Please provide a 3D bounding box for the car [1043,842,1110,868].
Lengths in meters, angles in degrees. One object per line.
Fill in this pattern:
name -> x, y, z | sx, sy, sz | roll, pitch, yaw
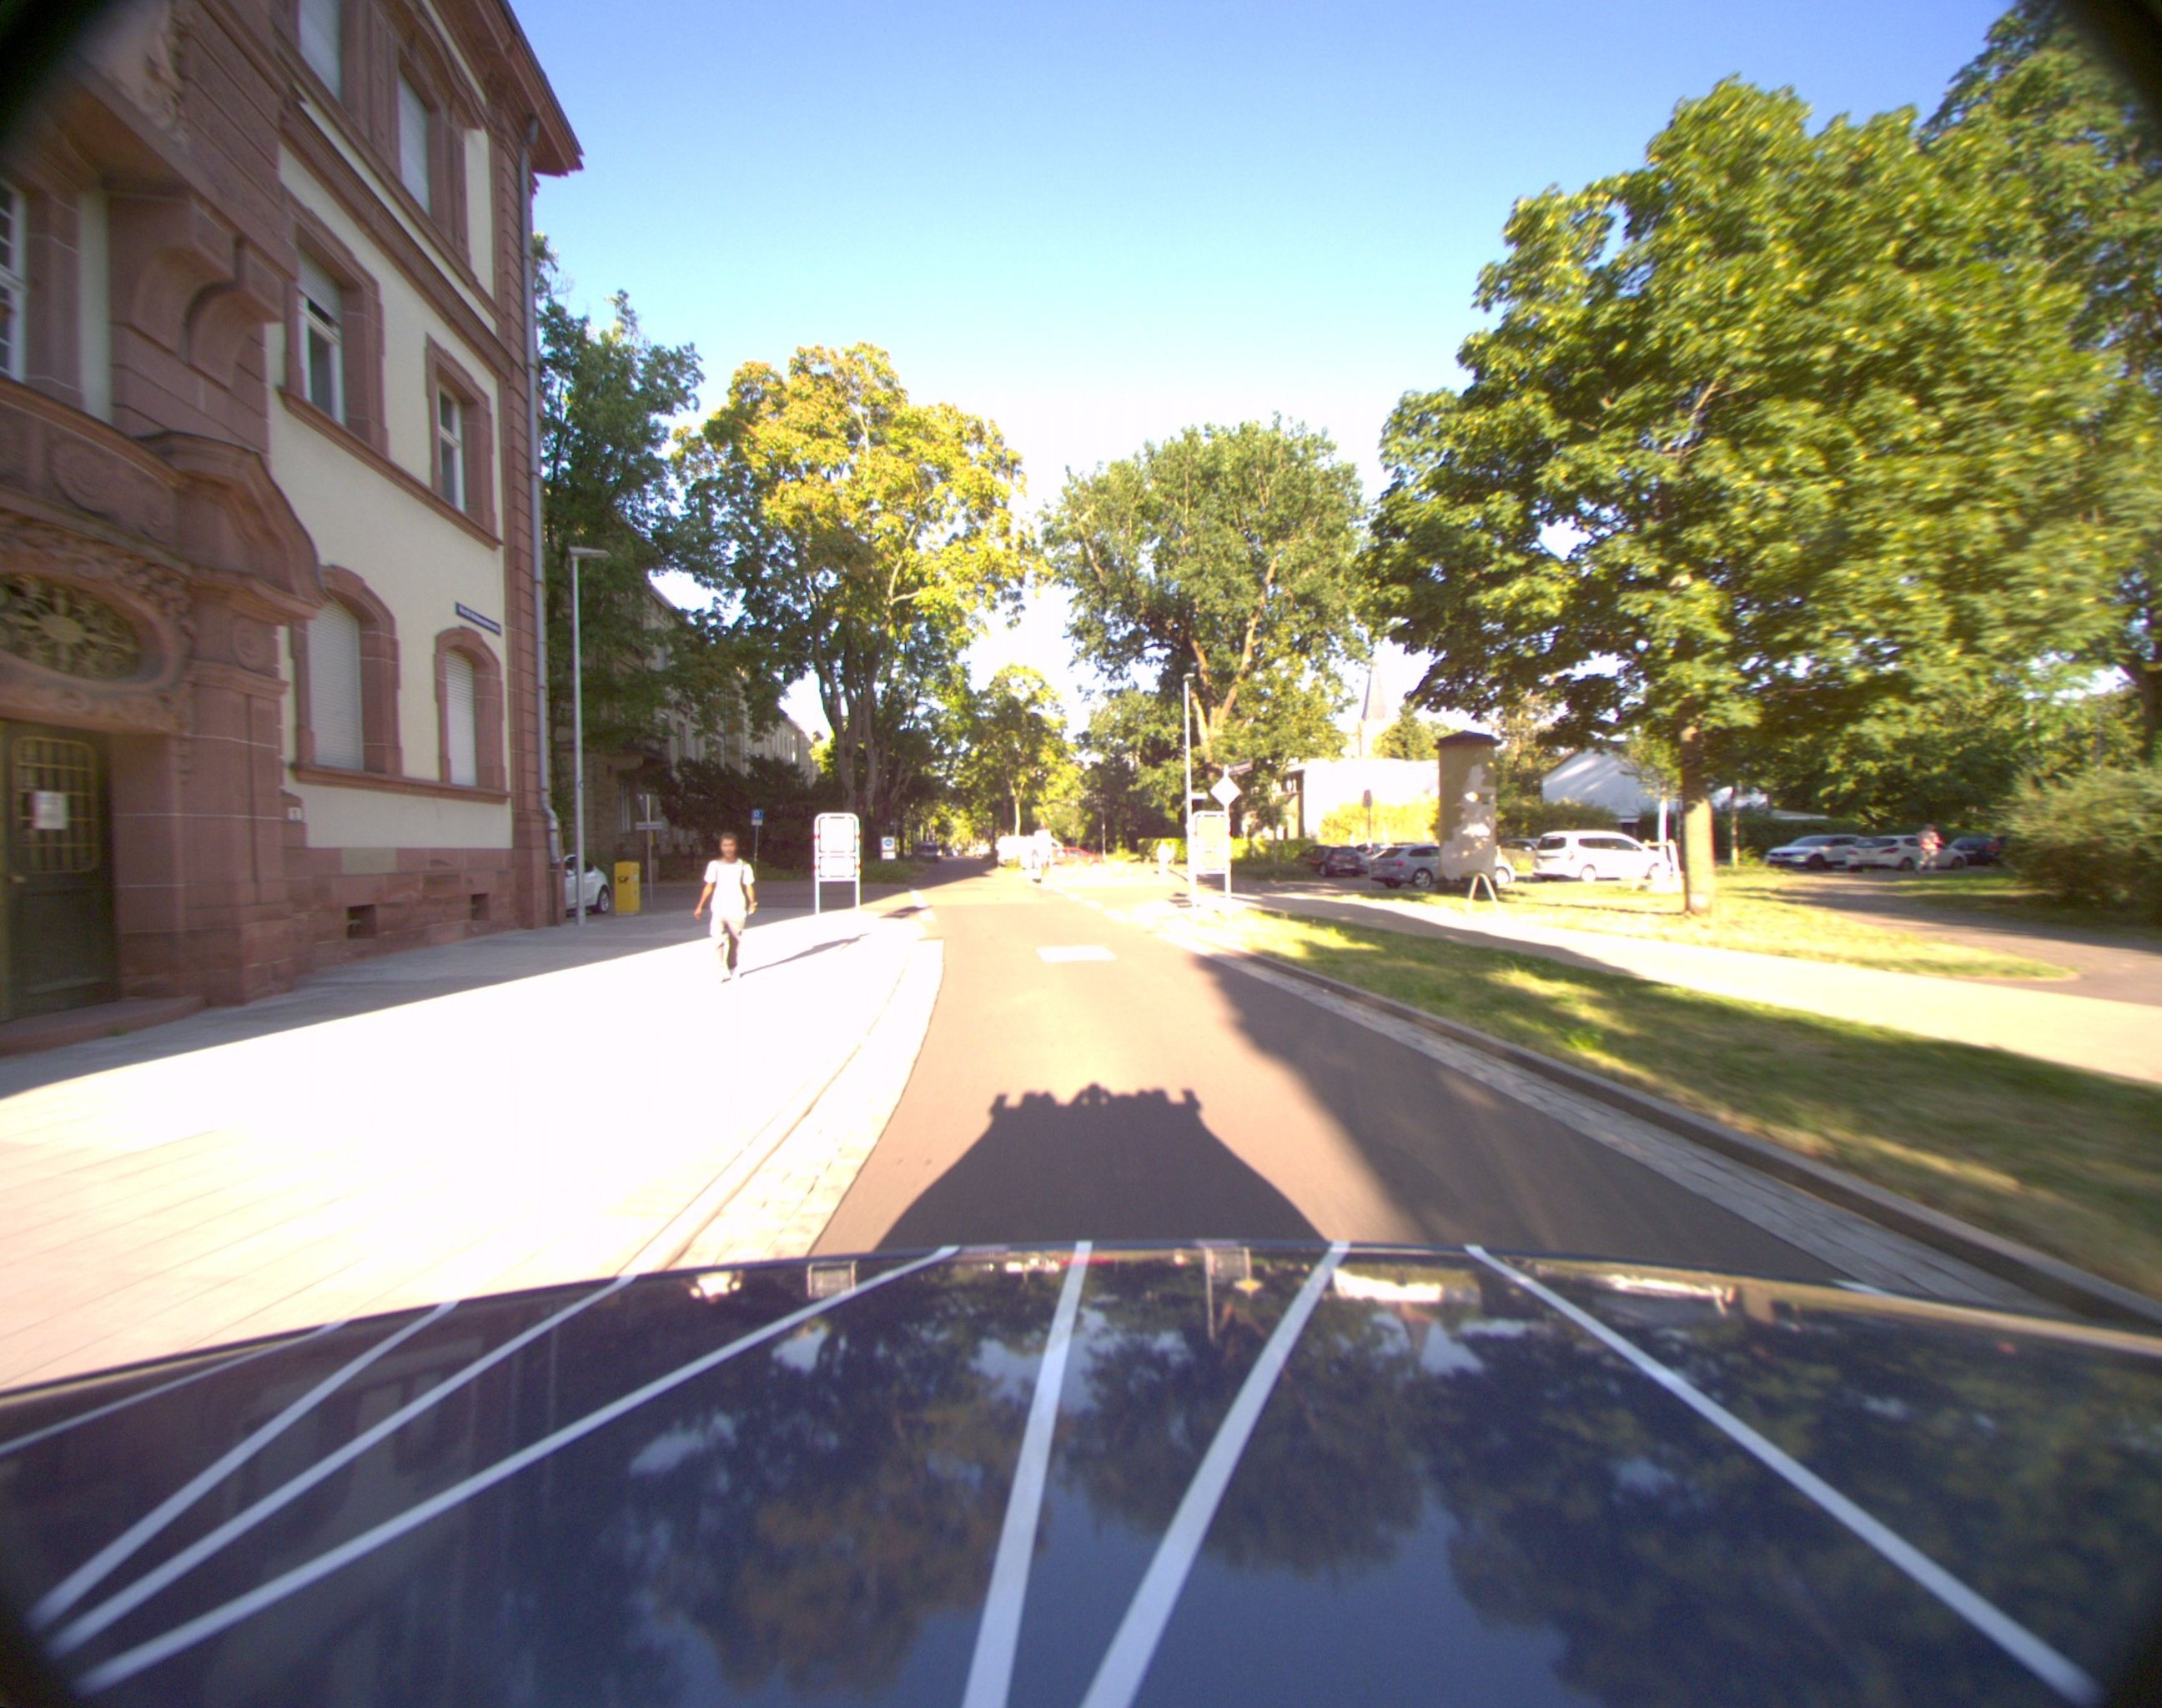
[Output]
car -> -0.296, 0.029, 45.420 | 3.681, 1.412, 1.716 | -2, 1, -12

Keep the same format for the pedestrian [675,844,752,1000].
pedestrian -> -4.239, 0.739, 8.818 | 0.534, 1.709, 1.002 | 1, 1, -10

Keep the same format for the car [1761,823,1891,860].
car -> 33.334, -0.533, 34.042 | 4.345, 1.526, 1.782 | -2, 0, -6

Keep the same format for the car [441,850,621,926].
car -> -13.374, 0.805, 18.883 | 1.968, 1.579, 4.717 | -2, -1, -14

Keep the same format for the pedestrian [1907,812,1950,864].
pedestrian -> 28.939, -0.540, 25.951 | 0.747, 1.728, 0.715 | -2, 2, -11

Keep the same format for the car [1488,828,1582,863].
car -> 22.155, -0.461, 37.246 | 1.746, 1.529, 3.918 | -2, 3, -13

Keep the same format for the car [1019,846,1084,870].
car -> -1.988, 0.262, 50.911 | 4.060, 1.412, 1.716 | -2, 1, -12

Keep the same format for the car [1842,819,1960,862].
car -> 32.030, -0.530, 29.705 | 3.310, 1.500, 1.715 | -2, 1, -13

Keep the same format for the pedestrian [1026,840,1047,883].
pedestrian -> -2.034, 0.338, 34.673 | 0.615, 1.907, 0.721 | -1, 0, -34

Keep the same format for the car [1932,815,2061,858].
car -> 37.082, -0.690, 30.802 | 3.679, 1.500, 1.716 | -3, 1, -10

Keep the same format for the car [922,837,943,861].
car -> -16.989, -0.609, 87.159 | 1.952, 2.584, 4.162 | -2, 1, -7

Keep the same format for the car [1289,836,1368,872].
car -> 11.300, -0.060, 34.971 | 1.646, 1.507, 3.995 | -2, 2, -12

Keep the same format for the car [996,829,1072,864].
car -> -3.871, -0.608, 62.775 | 5.912, 2.685, 2.218 | -2, 1, -13

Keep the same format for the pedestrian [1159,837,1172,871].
pedestrian -> 4.032, 0.004, 36.123 | 0.435, 1.572, 0.666 | -2, 2, -6

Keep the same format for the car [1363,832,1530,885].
car -> 12.137, 0.117, 25.336 | 4.839, 1.550, 1.866 | -2, 1, -11

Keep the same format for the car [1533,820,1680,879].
car -> 18.458, -0.170, 26.763 | 4.239, 1.905, 1.760 | -2, 1, -11

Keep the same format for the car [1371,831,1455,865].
car -> 15.948, -0.336, 36.709 | 1.811, 1.449, 4.094 | -2, 3, -9

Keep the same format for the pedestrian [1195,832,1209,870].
pedestrian -> 5.686, -0.146, 35.662 | 0.435, 1.765, 0.666 | -2, 2, -6

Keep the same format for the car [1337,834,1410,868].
car -> 13.760, -0.178, 35.960 | 1.638, 1.483, 3.351 | -2, 3, -13
